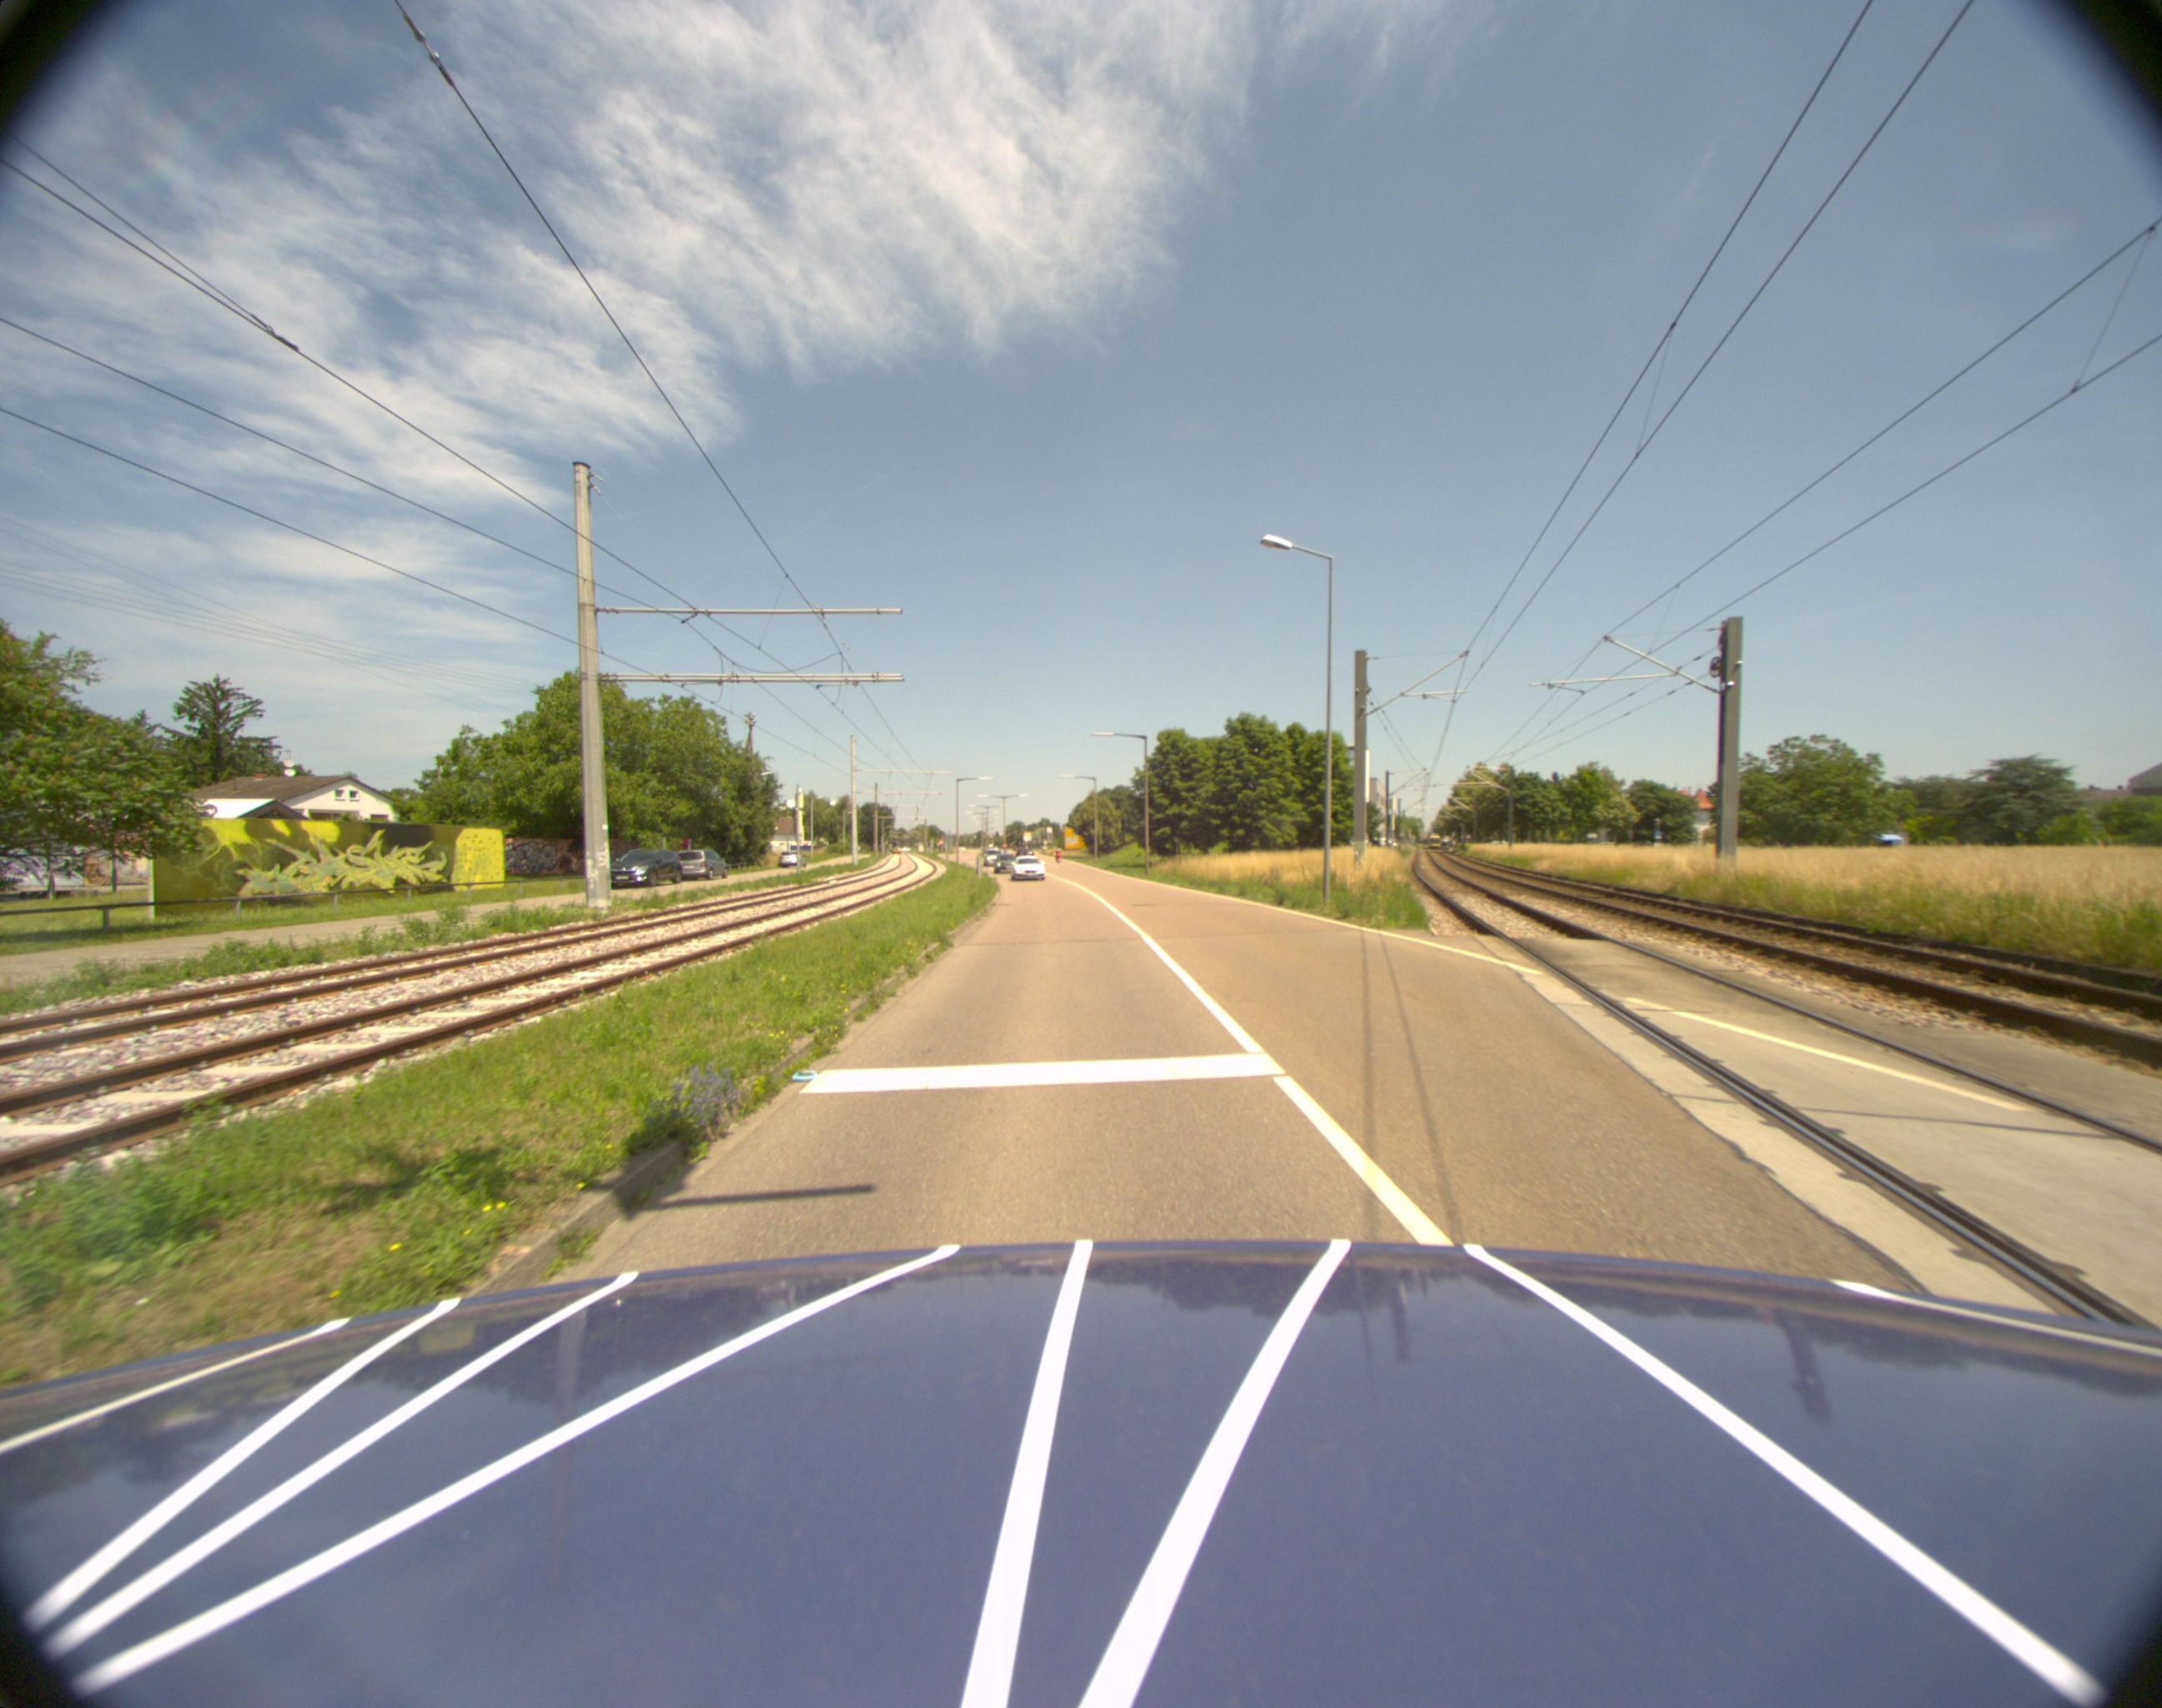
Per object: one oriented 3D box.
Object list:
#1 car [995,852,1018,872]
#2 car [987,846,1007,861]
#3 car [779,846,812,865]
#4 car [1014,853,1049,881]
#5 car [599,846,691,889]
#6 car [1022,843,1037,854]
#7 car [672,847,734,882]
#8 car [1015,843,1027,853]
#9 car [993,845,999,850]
[{"bbox_3d":[-5.960,0.608,60.366,1.511,1.424,3.354,-1,2,-10],"label":"car"},{"bbox_3d":[-9.139,-0.030,82.124,1.811,1.466,3.507,-1,2,-12],"label":"car"},{"bbox_3d":[-23.732,0.111,63.214,1.686,1.406,4.544,-1,2,-9],"label":"car"},{"bbox_3d":[-2.984,0.730,45.467,1.773,1.434,4.124,-1,2,-8],"label":"car"},{"bbox_3d":[-19.476,0.552,34.215,1.833,1.647,4.810,-1,2,-8],"label":"car"},{"bbox_3d":[-7.401,-0.813,109.080,1.832,1.592,4.481,-1,1,-7],"label":"car"},{"bbox_3d":[-20.006,0.491,40.448,1.682,1.615,4.705,-1,2,-10],"label":"car"},{"bbox_3d":[-9.663,-1.006,122.892,1.827,1.564,4.108,0,2,-6],"label":"car"},{"bbox_3d":[-27.860,-2.154,249.326,1.620,1.387,3.596,-1,2,-11],"label":"car"}]
